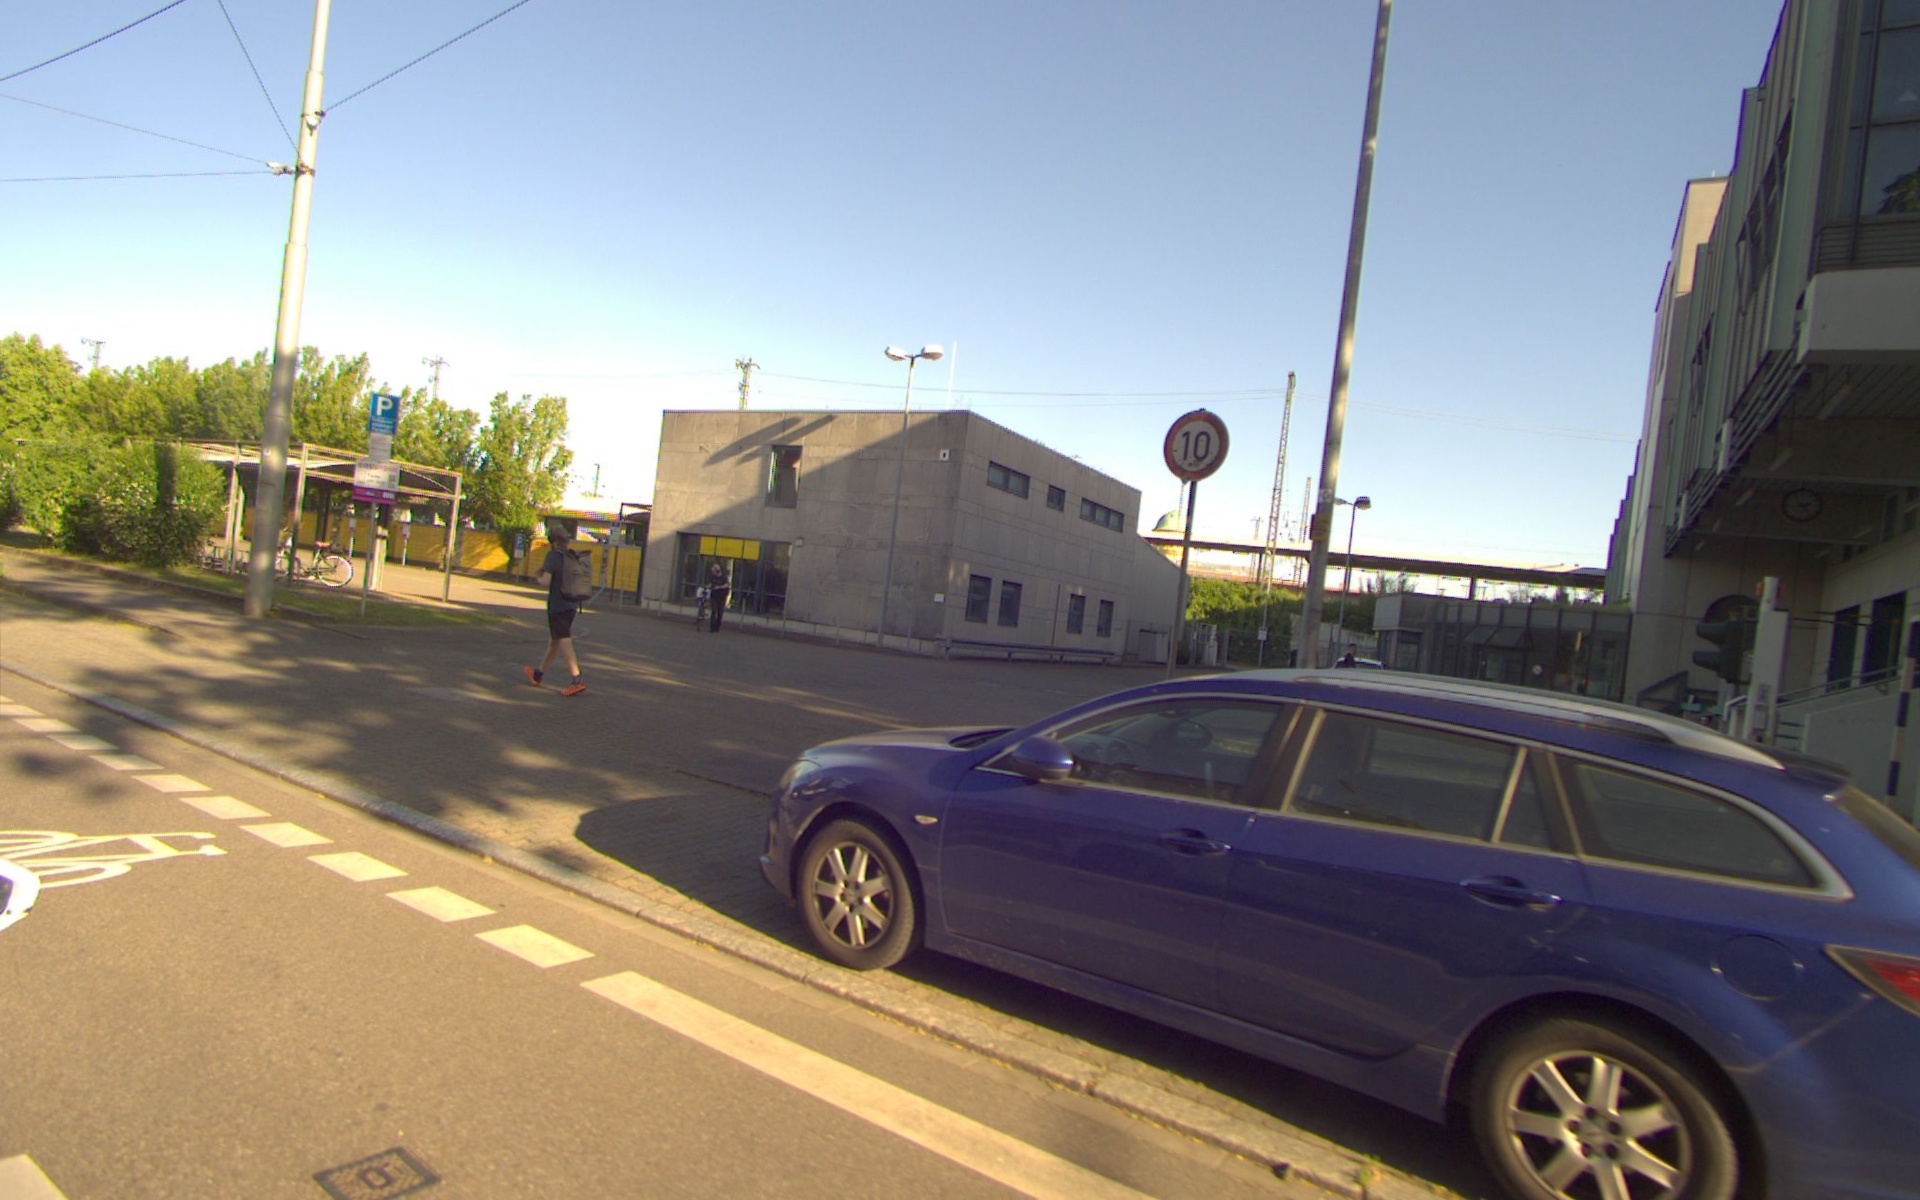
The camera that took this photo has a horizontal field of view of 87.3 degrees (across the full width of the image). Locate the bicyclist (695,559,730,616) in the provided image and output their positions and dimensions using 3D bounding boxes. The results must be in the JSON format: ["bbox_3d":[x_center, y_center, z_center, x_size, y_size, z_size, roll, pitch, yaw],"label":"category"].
[{"bbox_3d":[-6.509,-0.322,26.464,0.719,1.400,0.580,7,-1,-15],"label":"bicyclist"}]

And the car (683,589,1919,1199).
[{"bbox_3d":[1.178,0.969,4.143,4.581,1.499,1.704,6,0,32],"label":"car"}]

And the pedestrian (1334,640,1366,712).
[{"bbox_3d":[10.141,1.966,26.163,0.503,1.801,0.481,7,-1,33],"label":"pedestrian"}]

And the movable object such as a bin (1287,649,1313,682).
[{"bbox_3d":[14.611,2.801,43.218,0.767,1.294,0.903,7,-1,31],"label":"movable object such as a bin"}]

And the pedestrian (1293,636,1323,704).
[{"bbox_3d":[9.613,1.938,27.774,0.503,1.801,0.481,7,-1,33],"label":"pedestrian"}]

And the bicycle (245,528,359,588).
[{"bbox_3d":[-14.139,-0.890,21.651,0.569,1.020,1.893,6,-2,44],"label":"bicycle"}]

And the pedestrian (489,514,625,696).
[{"bbox_3d":[-4.393,0.030,10.945,1.282,1.814,0.670,7,4,32],"label":"pedestrian"}]

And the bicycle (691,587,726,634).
[{"bbox_3d":[-6.602,0.272,26.428,0.742,1.083,2.005,7,-2,-13],"label":"bicycle"}]

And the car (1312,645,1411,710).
[{"bbox_3d":[11.504,2.254,28.652,1.870,1.491,4.082,6,-2,31],"label":"car"}]
